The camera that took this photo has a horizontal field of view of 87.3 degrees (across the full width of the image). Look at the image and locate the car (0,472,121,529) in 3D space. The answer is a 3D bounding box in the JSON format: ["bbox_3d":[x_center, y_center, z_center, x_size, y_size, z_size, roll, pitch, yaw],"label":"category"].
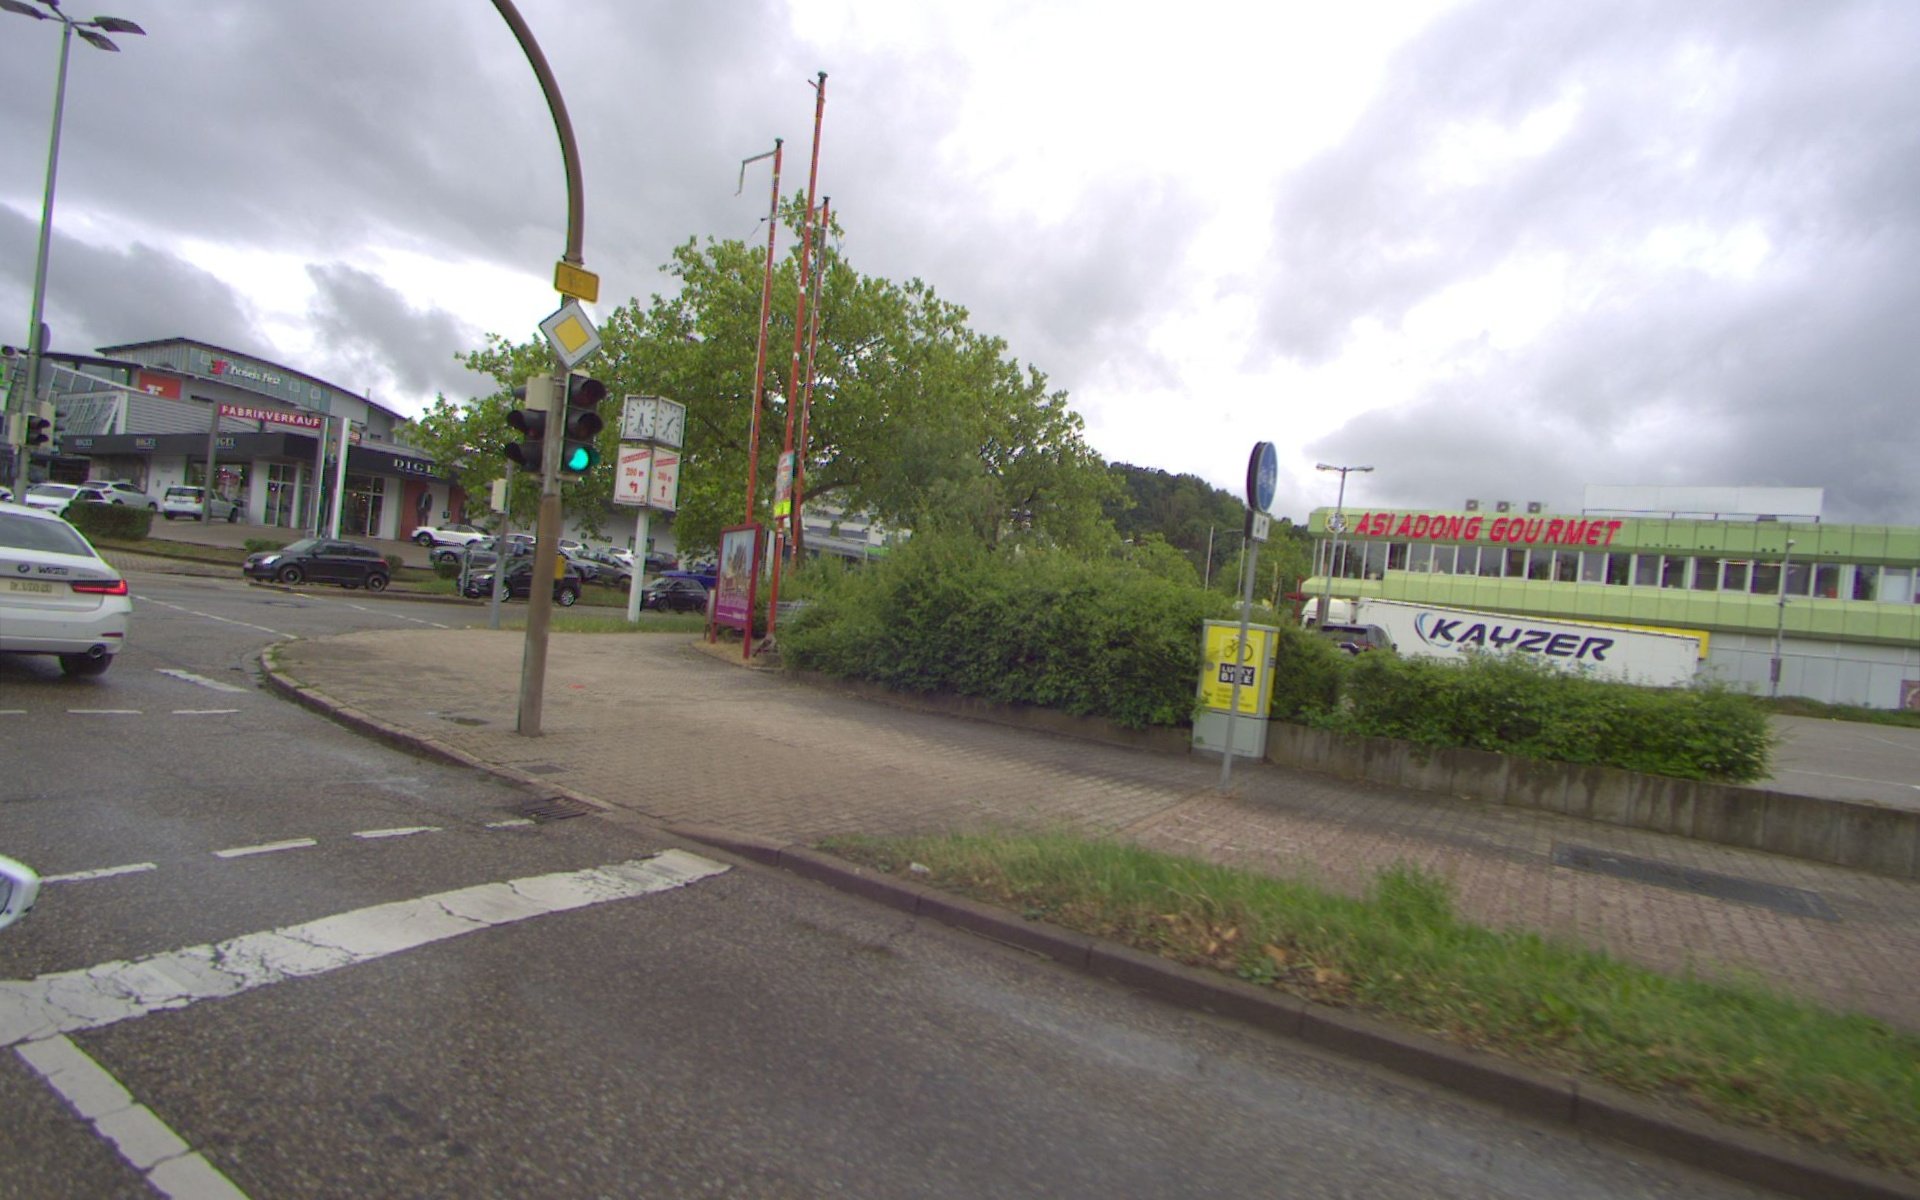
[{"bbox_3d":[-33.052,-3.588,36.831,1.903,1.596,4.273,6,0,-16],"label":"car"}]

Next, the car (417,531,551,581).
[{"bbox_3d":[-21.009,-1.920,44.622,4.929,1.504,1.994,7,0,-13],"label":"car"}]

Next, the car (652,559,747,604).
[{"bbox_3d":[-14.410,-0.991,55.920,4.849,1.812,1.997,7,-3,-13],"label":"car"}]

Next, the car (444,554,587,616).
[{"bbox_3d":[-15.376,-0.498,34.961,1.712,1.565,4.143,5,-3,37],"label":"car"}]

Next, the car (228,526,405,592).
[{"bbox_3d":[-19.040,-1.167,29.937,1.788,1.507,3.982,6,0,32],"label":"car"}]

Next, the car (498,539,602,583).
[{"bbox_3d":[-19.317,-1.815,47.593,4.082,1.395,1.982,7,-3,-8],"label":"car"}]

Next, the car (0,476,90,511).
[{"bbox_3d":[-54.668,-6.317,60.196,1.799,1.487,4.150,7,1,-6],"label":"car"}]

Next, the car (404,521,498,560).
[{"bbox_3d":[-27.381,-3.201,54.216,4.083,1.499,1.735,7,0,-9],"label":"car"}]

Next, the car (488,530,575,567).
[{"bbox_3d":[-24.354,-2.912,57.240,4.080,1.499,1.736,7,1,-5],"label":"car"}]

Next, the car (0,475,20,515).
[{"bbox_3d":[-43.128,-4.717,43.200,1.948,1.685,4.018,6,2,-7],"label":"car"}]

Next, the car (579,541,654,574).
[{"bbox_3d":[-21.443,-2.648,62.901,4.083,1.499,1.735,7,0,-9],"label":"car"}]

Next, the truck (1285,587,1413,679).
[{"bbox_3d":[19.429,1.640,50.268,5.052,3.760,3.157,8,-1,32],"label":"truck"}]

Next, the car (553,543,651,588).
[{"bbox_3d":[-17.849,-1.712,50.386,4.154,1.597,1.999,7,-3,-8],"label":"car"}]

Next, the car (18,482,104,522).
[{"bbox_3d":[-51.867,-5.635,58.127,1.605,1.742,3.970,6,0,-7],"label":"car"}]

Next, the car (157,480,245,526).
[{"bbox_3d":[-37.830,-4.797,50.259,1.709,1.793,4.145,6,0,-11],"label":"car"}]

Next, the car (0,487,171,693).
[{"bbox_3d":[-9.283,-0.282,9.041,4.542,1.562,1.805,6,-2,31],"label":"car"}]

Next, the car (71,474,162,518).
[{"bbox_3d":[-46.032,-5.630,55.015,1.708,1.793,4.148,6,0,-7],"label":"car"}]

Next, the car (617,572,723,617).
[{"bbox_3d":[-11.981,-0.186,41.764,1.788,1.507,3.982,6,0,32],"label":"car"}]

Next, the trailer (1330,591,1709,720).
[{"bbox_3d":[25.218,2.411,46.527,14.568,3.760,3.157,8,-1,33],"label":"trailer"}]

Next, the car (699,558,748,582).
[{"bbox_3d":[-16.858,-2.137,71.917,3.190,1.286,1.538,7,0,-9],"label":"car"}]

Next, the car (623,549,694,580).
[{"bbox_3d":[-19.509,-2.304,65.257,4.083,1.499,1.735,7,0,-9],"label":"car"}]

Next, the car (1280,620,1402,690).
[{"bbox_3d":[9.869,1.446,25.896,1.968,1.460,3.989,7,0,34],"label":"car"}]

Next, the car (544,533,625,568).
[{"bbox_3d":[-22.271,-2.906,59.783,4.083,1.499,1.735,7,0,-9],"label":"car"}]
